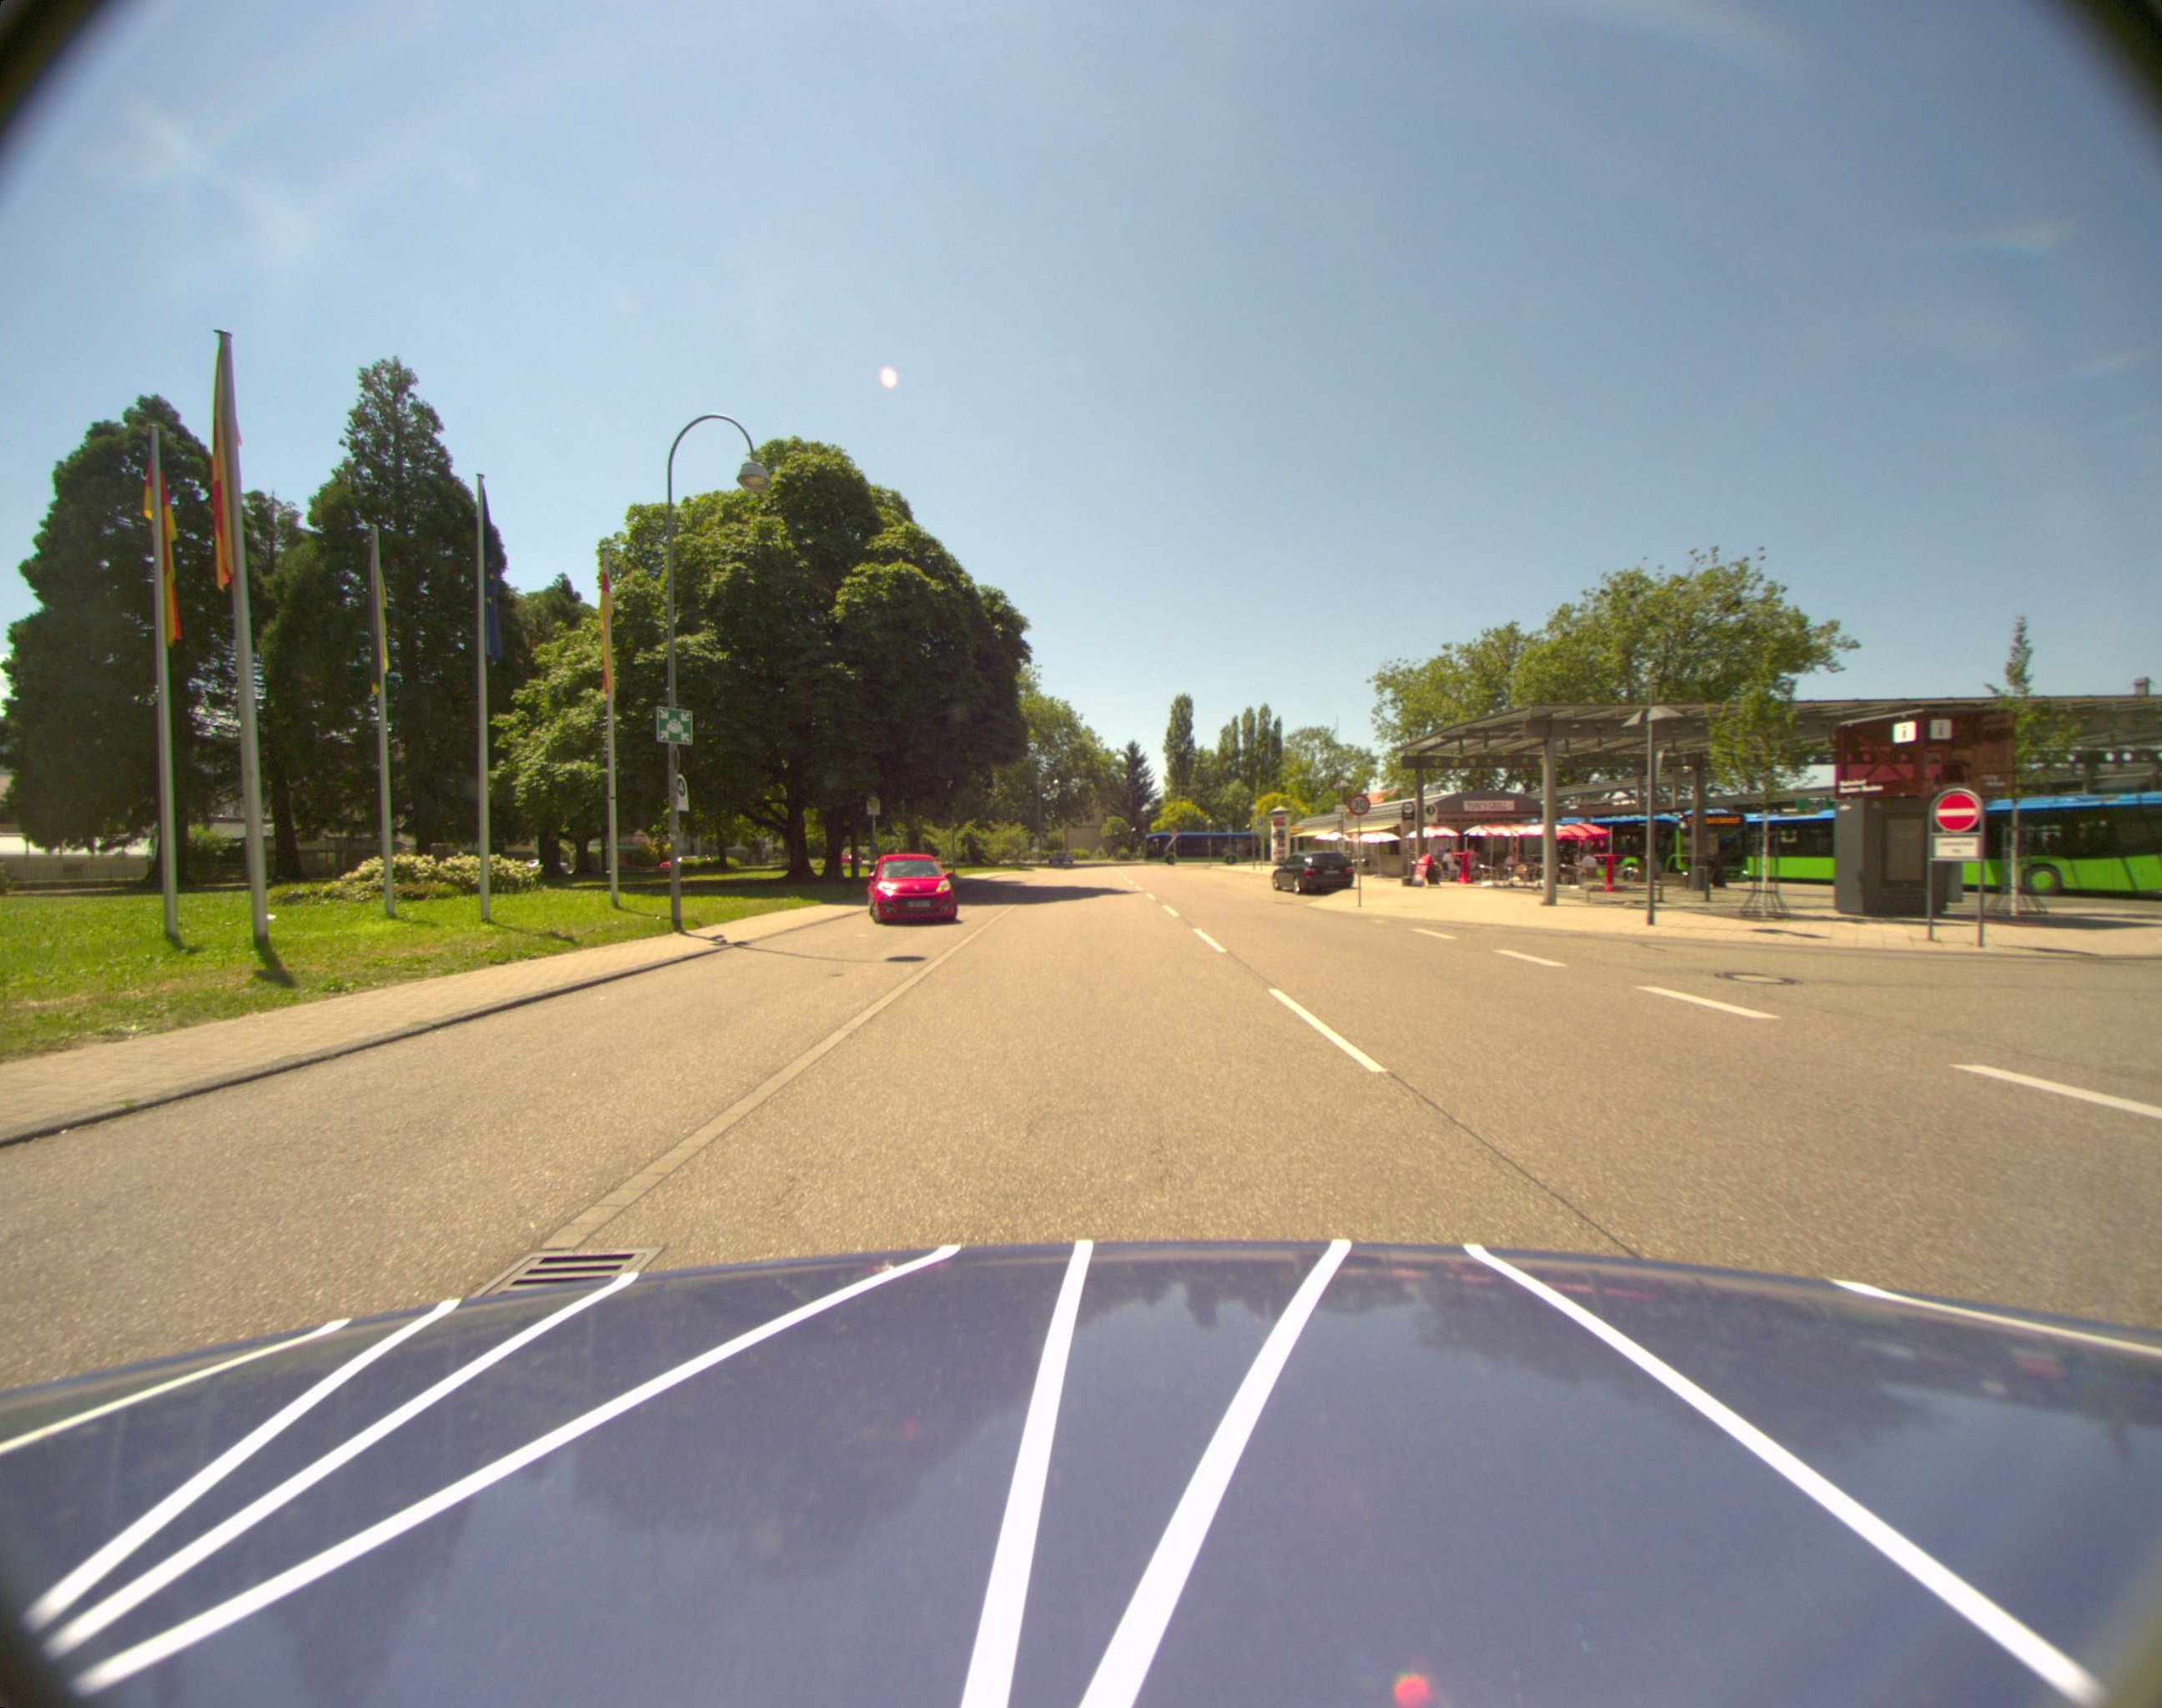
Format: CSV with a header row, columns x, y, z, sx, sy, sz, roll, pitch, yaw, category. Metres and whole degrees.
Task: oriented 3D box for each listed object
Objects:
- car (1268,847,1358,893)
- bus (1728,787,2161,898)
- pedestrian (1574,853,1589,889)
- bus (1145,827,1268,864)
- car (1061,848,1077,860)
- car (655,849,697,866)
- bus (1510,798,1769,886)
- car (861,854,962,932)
x,y,z,sx,sy,sz,roll,pitch,yaw,category
8.185,0.509,27.292,1.723,1.470,4.784,0,1,-1,car
31.191,-0.365,27.679,2.874,3.019,15.518,0,0,3,bus
16.342,0.548,24.799,0.371,1.117,0.427,2,3,35,pedestrian
12.730,-0.894,77.583,12.207,3.506,2.170,-1,1,7,bus
-1.420,0.002,92.576,1.819,1.436,4.158,0,0,1,car
-42.467,0.339,79.752,1.700,1.591,4.002,0,3,11,car
23.715,-0.478,33.641,2.972,3.214,11.847,0,0,1,bus
-3.891,0.771,17.037,1.726,1.470,3.699,-1,1,-20,car
